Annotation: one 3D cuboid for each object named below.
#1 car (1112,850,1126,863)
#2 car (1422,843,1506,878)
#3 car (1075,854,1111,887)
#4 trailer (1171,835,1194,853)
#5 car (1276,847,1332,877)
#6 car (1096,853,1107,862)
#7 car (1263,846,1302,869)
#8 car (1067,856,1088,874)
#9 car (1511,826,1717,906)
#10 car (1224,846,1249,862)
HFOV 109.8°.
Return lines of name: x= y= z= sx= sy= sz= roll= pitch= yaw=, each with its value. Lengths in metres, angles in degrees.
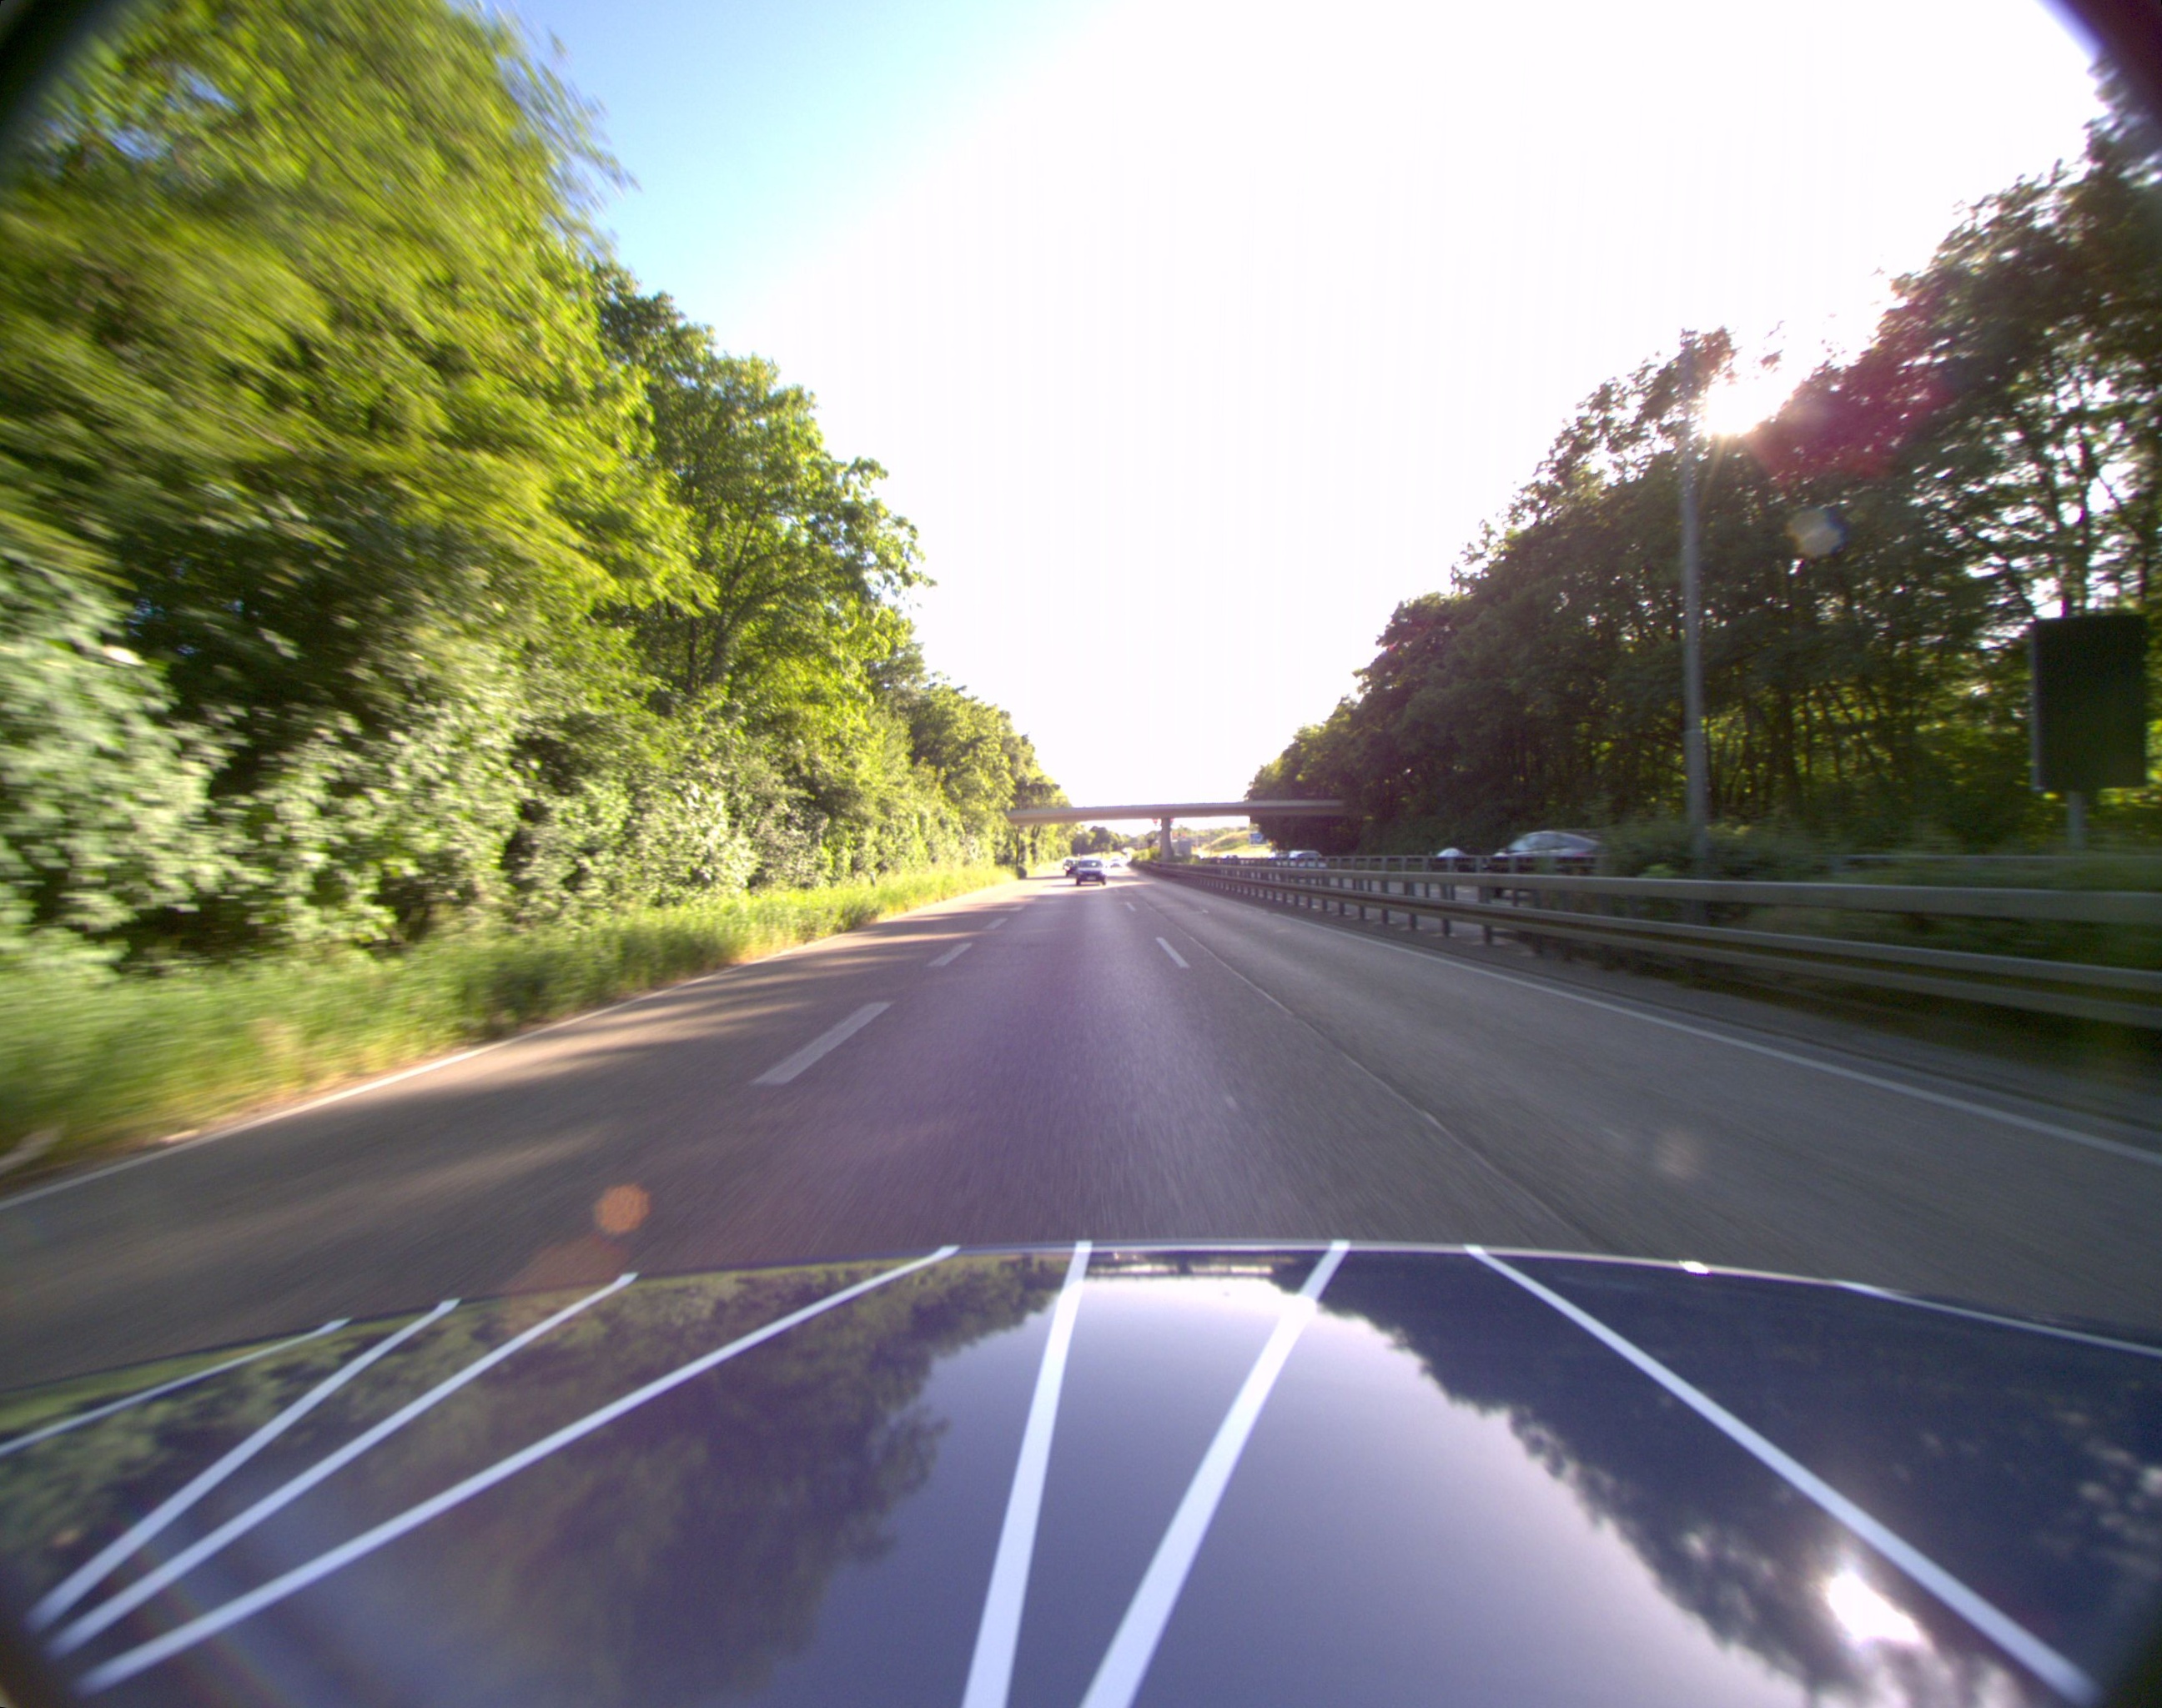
car: x=5.417 y=0.311 z=109.112 sx=1.998 sy=1.793 sz=4.000 roll=-1 pitch=1 yaw=2
car: x=18.022 y=0.285 z=36.017 sx=1.734 sy=1.480 sz=4.453 roll=-2 pitch=0 yaw=1
car: x=0.709 y=0.886 z=42.283 sx=1.712 sy=1.565 sz=3.423 roll=-4 pitch=0 yaw=4
trailer: x=18.866 y=-1.860 z=142.159 sx=2.937 sy=3.149 sz=11.916 roll=-1 pitch=1 yaw=2
car: x=11.887 y=0.395 z=40.854 sx=1.734 sy=1.480 sz=4.397 roll=-2 pitch=0 yaw=1
car: x=4.062 y=0.637 z=150.650 sx=1.998 sy=1.740 sz=4.372 roll=-1 pitch=1 yaw=0
car: x=16.071 y=0.259 z=60.800 sx=1.998 sy=1.740 sz=4.372 roll=-1 pitch=1 yaw=1
car: x=-0.263 y=0.957 z=68.147 sx=1.712 sy=1.565 sz=3.422 roll=-1 pitch=1 yaw=2
car: x=11.314 y=0.215 z=16.515 sx=1.754 sy=1.488 sz=3.943 roll=-1 pitch=1 yaw=1
car: x=17.244 y=-0.020 z=84.435 sx=1.998 sy=1.740 sz=4.343 roll=-1 pitch=1 yaw=1
